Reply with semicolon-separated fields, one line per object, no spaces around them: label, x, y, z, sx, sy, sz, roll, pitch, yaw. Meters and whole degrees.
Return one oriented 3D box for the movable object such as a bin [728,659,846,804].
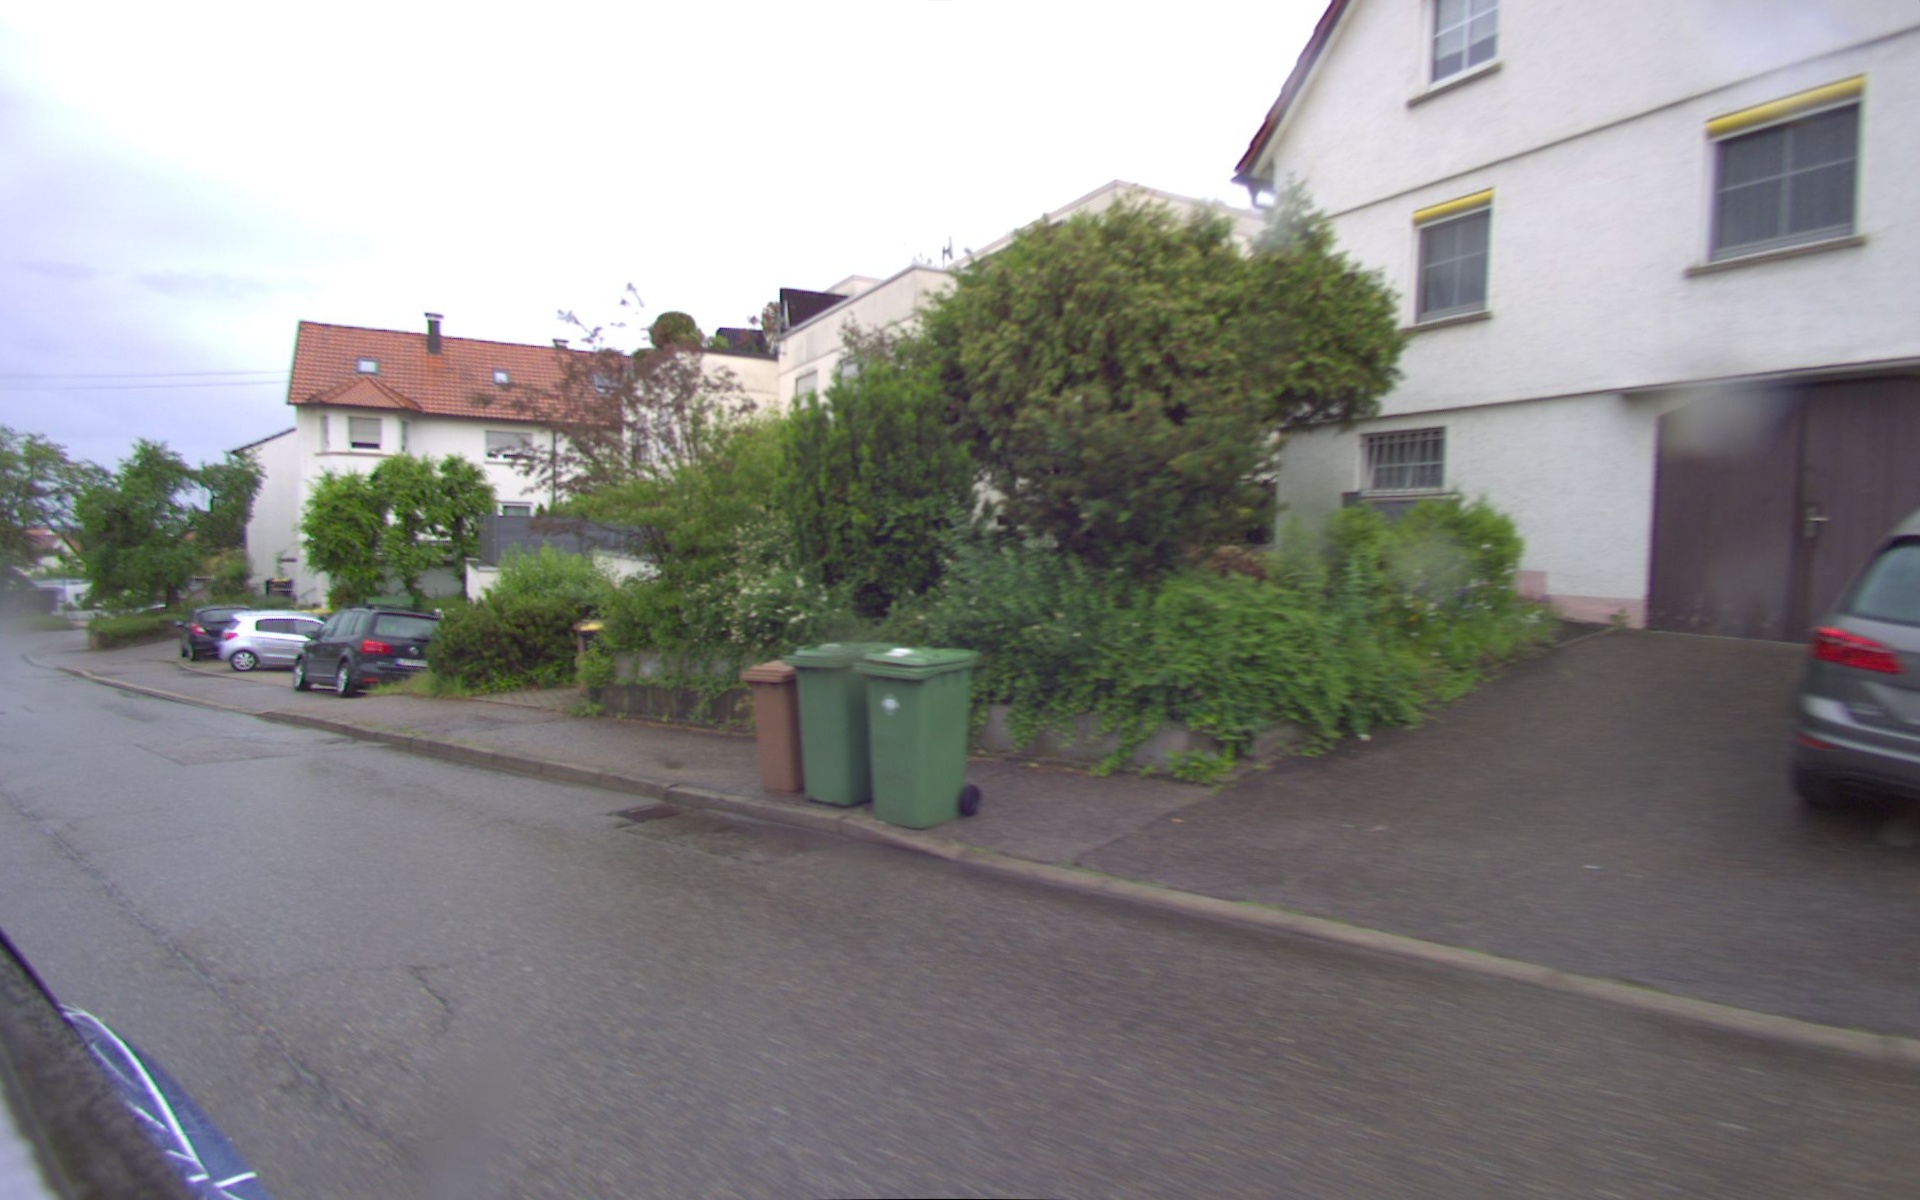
movable object such as a bin;-1.246;0.918;7.307;0.563;0.935;0.597;-1;1;37

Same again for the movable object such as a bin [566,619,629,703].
movable object such as a bin;-4.907;0.805;13.687;0.688;1.091;0.711;0;-1;-30

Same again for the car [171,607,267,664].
car;-21.208;0.953;28.905;1.745;1.386;4.253;-5;3;-42

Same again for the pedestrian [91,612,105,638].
pedestrian;-55.519;1.590;65.195;0.647;1.661;0.734;-1;-2;-37

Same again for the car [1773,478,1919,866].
car;6.065;0.173;5.223;4.002;1.704;1.898;-5;3;-36

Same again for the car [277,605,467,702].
car;-11.100;0.913;18.982;4.415;1.609;1.784;-1;-1;41

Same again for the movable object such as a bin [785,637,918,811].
movable object such as a bin;-0.734;0.806;6.883;0.637;1.072;0.597;-1;1;37

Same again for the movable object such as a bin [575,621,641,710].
movable object such as a bin;-4.543;0.818;13.042;0.688;1.091;0.711;0;-1;-30

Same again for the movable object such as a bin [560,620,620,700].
movable object such as a bin;-5.241;0.832;14.333;0.688;1.091;0.711;0;-1;-30

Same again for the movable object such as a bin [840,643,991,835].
movable object such as a bin;-0.278;0.826;6.328;0.697;1.072;0.597;-1;1;37

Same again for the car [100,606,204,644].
car;-47.282;1.429;59.361;4.451;1.625;1.937;-8;4;-34

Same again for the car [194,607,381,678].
car;-17.228;1.098;26.061;3.775;1.489;1.808;7;-4;-34
